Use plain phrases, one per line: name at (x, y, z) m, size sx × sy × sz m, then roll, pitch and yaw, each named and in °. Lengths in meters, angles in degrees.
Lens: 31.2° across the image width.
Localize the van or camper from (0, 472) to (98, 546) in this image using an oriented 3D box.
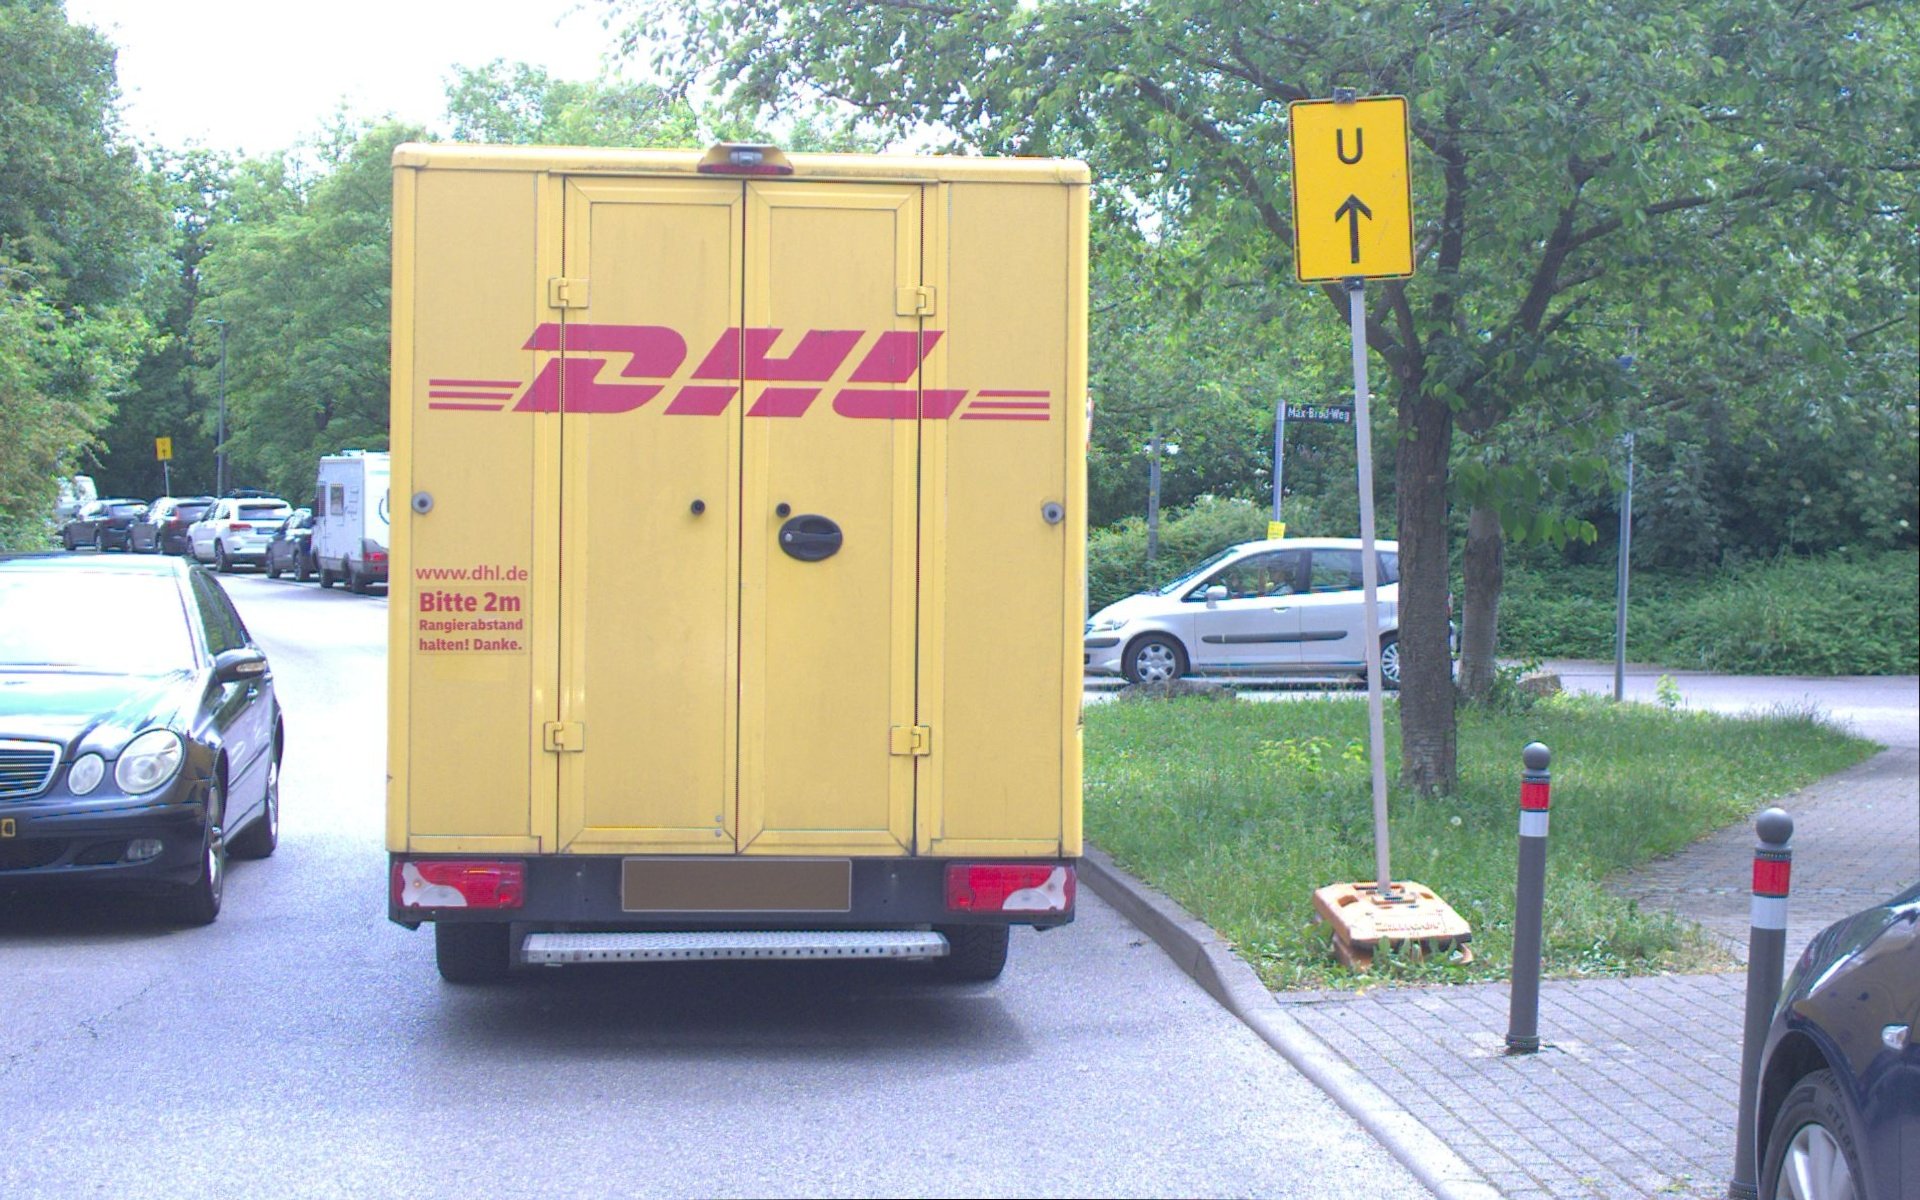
van or camper at (-26.584, -2.619, 98.278) m, size 1.994 × 1.913 × 5.265 m, roll -2°, pitch 4°, yaw -35°

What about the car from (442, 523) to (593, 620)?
car at (-7.225, -0.496, 55.810) m, size 1.775 × 1.429 × 4.335 m, roll -1°, pitch 2°, yaw -16°

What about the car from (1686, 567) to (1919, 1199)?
car at (2.223, 0.693, 4.095) m, size 1.690 × 1.415 × 4.001 m, roll 0°, pitch 1°, yaw -3°

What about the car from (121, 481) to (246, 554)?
car at (-19.735, -2.123, 87.250) m, size 1.993 × 1.620 × 4.279 m, roll -3°, pitch 5°, yaw -27°

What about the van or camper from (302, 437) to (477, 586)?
van or camper at (-11.667, -1.827, 69.906) m, size 2.332 × 2.859 × 6.152 m, roll 1°, pitch 2°, yaw -21°

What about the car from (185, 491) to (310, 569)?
car at (-17.003, -1.688, 81.900) m, size 1.871 × 1.683 × 4.580 m, roll 0°, pitch 2°, yaw -25°

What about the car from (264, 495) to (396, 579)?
car at (-13.879, -1.409, 75.645) m, size 1.711 × 1.585 × 4.001 m, roll -8°, pitch 5°, yaw -25°

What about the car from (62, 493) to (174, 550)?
car at (-22.882, -2.159, 93.382) m, size 1.798 × 1.459 × 4.000 m, roll -1°, pitch 3°, yaw -32°

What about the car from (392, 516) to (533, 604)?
car at (-9.099, -0.737, 62.717) m, size 1.728 × 1.514 × 3.890 m, roll -1°, pitch 1°, yaw -21°

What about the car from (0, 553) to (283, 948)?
car at (-3.946, 0.522, 14.709) m, size 1.751 × 1.414 × 4.369 m, roll 0°, pitch 1°, yaw -7°

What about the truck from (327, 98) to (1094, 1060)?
truck at (-0.871, -0.118, 13.329) m, size 2.225 × 2.799 × 6.572 m, roll 0°, pitch 1°, yaw -3°

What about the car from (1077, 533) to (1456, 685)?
car at (3.057, 0.080, 34.835) m, size 3.640 × 1.451 × 1.847 m, roll 1°, pitch 0°, yaw -1°
